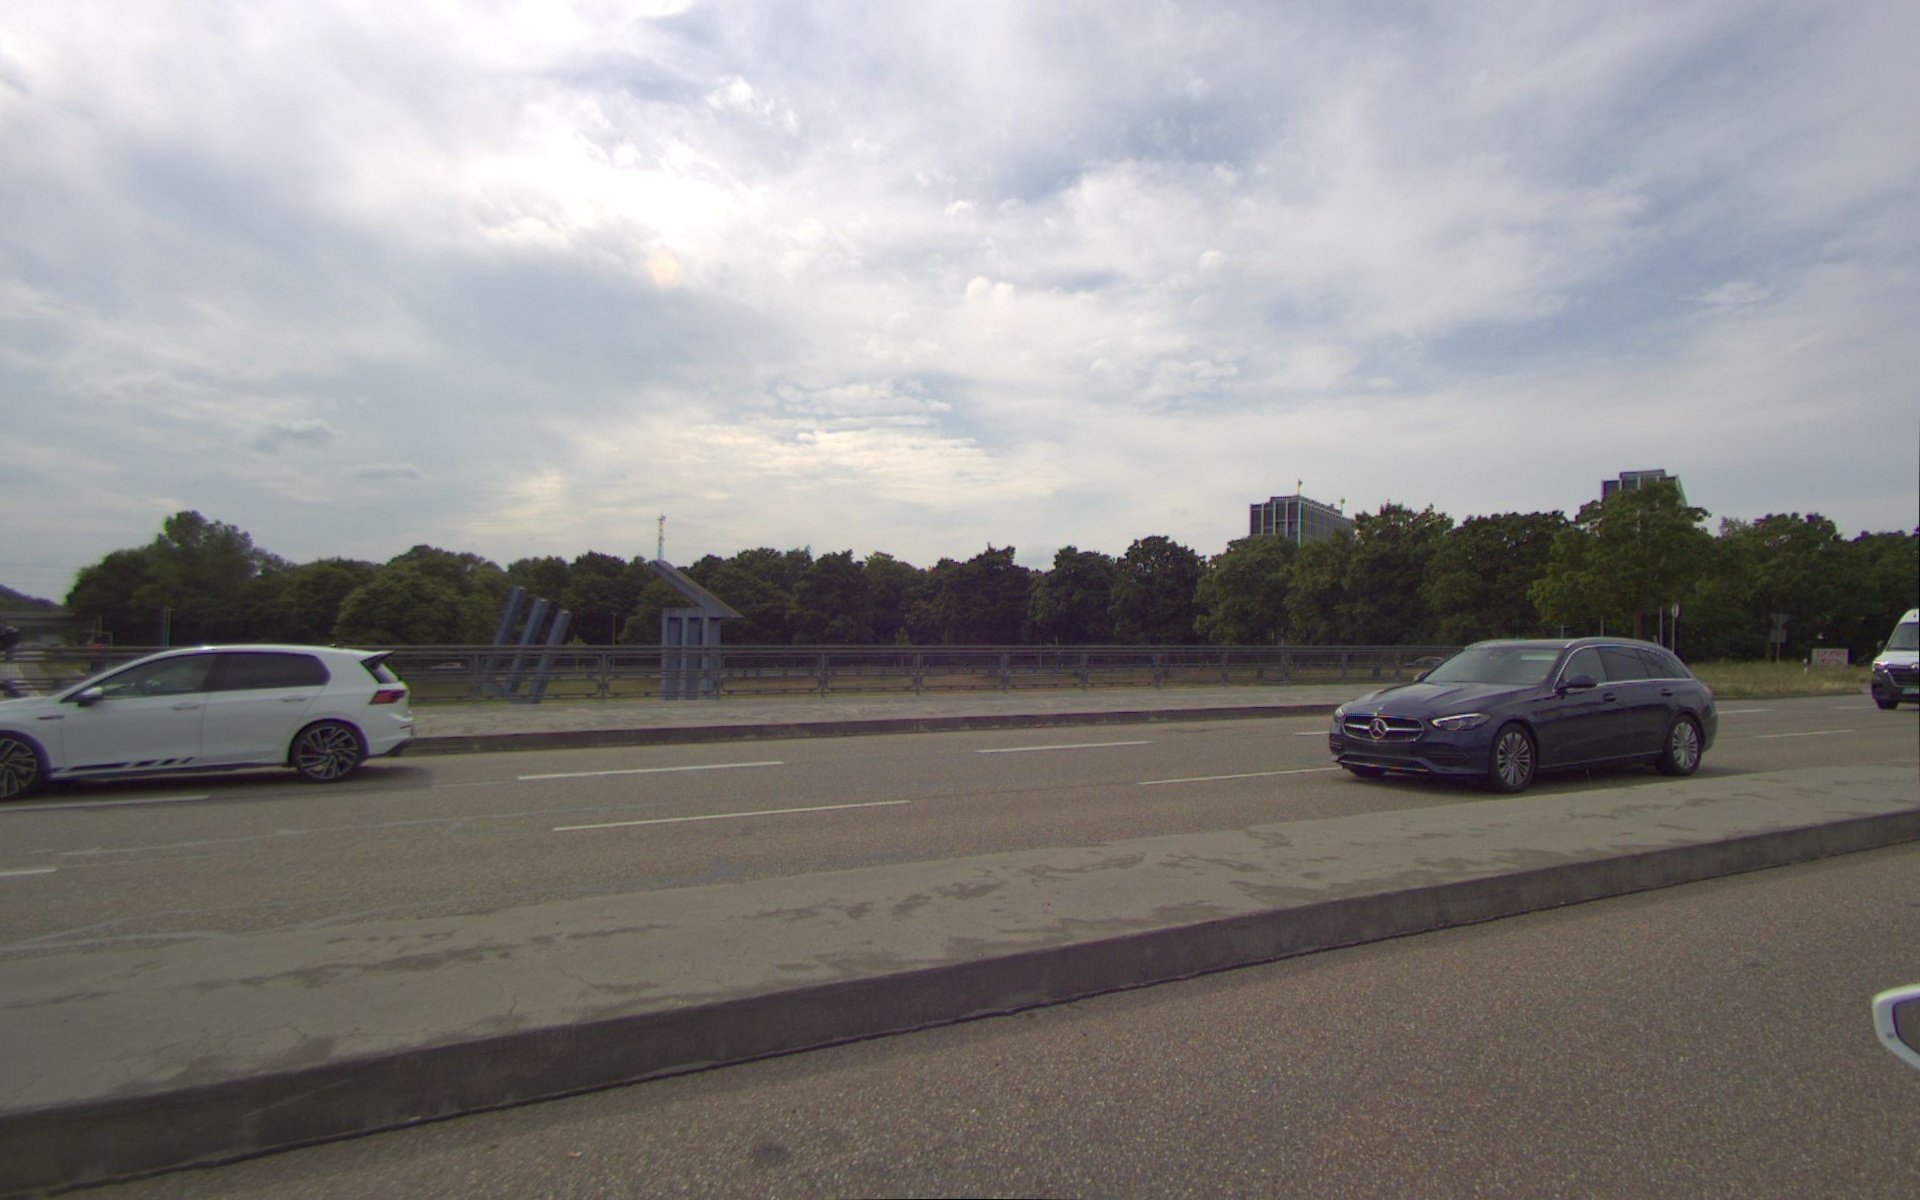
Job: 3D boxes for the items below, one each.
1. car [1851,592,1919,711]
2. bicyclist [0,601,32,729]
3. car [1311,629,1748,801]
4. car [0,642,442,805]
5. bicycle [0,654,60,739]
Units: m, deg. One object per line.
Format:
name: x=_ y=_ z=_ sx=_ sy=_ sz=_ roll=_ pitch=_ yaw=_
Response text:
car: x=24.346 y=1.213 z=24.122 sx=6.314 sy=2.677 sz=2.047 roll=1 pitch=-3 yaw=-26
bicyclist: x=-12.873 y=0.835 z=13.084 sx=0.965 sy=1.648 sz=0.791 roll=1 pitch=0 yaw=-30
car: x=6.104 y=1.092 z=10.658 sx=4.715 sy=1.500 sz=1.732 roll=1 pitch=-3 yaw=-27
car: x=-8.046 y=1.215 z=10.725 sx=4.414 sy=1.500 sz=1.732 roll=1 pitch=-3 yaw=-27
bicycle: x=-13.082 y=1.254 z=12.969 sx=2.035 sy=1.063 sz=0.703 roll=1 pitch=-1 yaw=-30
